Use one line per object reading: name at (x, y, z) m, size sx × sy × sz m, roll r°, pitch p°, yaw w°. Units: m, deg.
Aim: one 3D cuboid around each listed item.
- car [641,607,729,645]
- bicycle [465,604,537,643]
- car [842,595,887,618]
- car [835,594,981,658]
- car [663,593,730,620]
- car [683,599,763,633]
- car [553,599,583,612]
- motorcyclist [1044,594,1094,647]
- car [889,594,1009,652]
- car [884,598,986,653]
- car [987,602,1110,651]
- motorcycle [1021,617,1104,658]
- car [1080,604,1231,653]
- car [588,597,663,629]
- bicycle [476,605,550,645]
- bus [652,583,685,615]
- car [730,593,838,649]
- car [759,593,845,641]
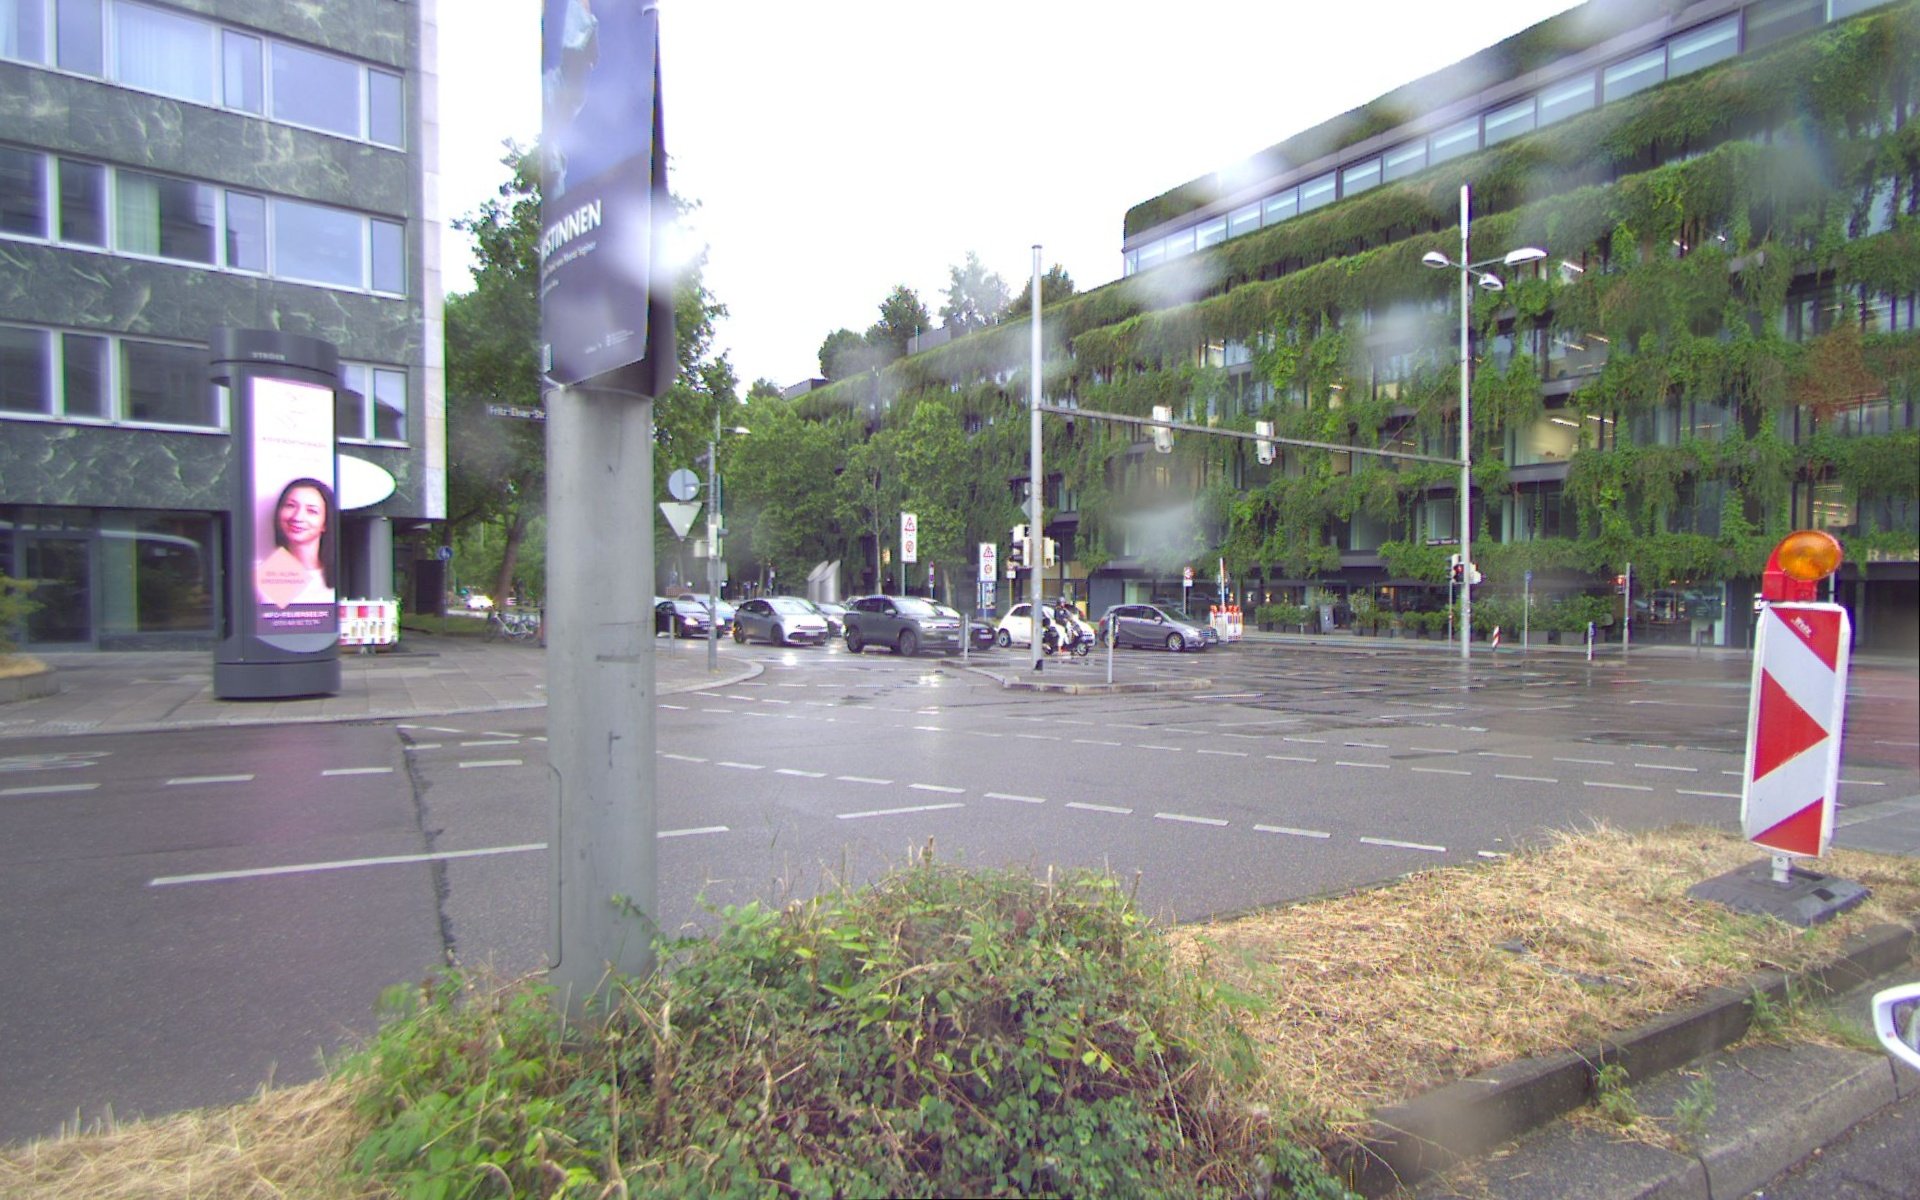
car at (-10.894, 1.001, 39.626) m, size 1.982 × 1.389 × 4.131 m, roll 1°, pitch 0°, yaw -37°
bicycle at (-12.969, 0.662, 28.413) m, size 1.765 × 1.066 × 0.581 m, roll 1°, pitch 0°, yaw -35°
car at (-7.361, 0.486, 77.248) m, size 1.783 × 1.588 × 3.962 m, roll 2°, pitch 0°, yaw -34°
car at (-1.580, 0.701, 29.140) m, size 1.984 × 1.709 × 4.314 m, roll 1°, pitch 0°, yaw -41°
car at (-13.923, 0.334, 52.926) m, size 1.982 × 1.389 × 4.131 m, roll 1°, pitch 0°, yaw -37°
car at (-10.668, 0.696, 45.024) m, size 1.982 × 1.389 × 4.131 m, roll 1°, pitch 0°, yaw -37°
car at (-47.705, 0.653, 122.148) m, size 1.919 × 1.508 × 4.849 m, roll 1°, pitch 0°, yaw -41°
motorcyclist at (3.141, 0.581, 28.995) m, size 1.153 × 1.492 × 0.832 m, roll 2°, pitch 0°, yaw 40°
car at (-0.415, 0.708, 32.590) m, size 1.981 × 1.773 × 3.958 m, roll 1°, pitch 0°, yaw -37°
car at (-1.003, 0.911, 37.766) m, size 1.978 × 1.923 × 4.139 m, roll 1°, pitch 0°, yaw -33°
car at (2.880, 0.856, 33.468) m, size 1.981 × 1.495 × 3.958 m, roll 1°, pitch 0°, yaw -37°
motorcycle at (2.960, 1.065, 29.143) m, size 2.331 × 1.068 × 0.830 m, roll 2°, pitch 0°, yaw 41°
car at (6.626, 0.933, 34.412) m, size 4.842 × 1.508 × 1.922 m, roll 1°, pitch 0°, yaw 45°
car at (-15.028, 0.563, 45.037) m, size 1.982 × 1.389 × 4.131 m, roll 1°, pitch 0°, yaw -37°
bicycle at (-12.290, 0.677, 27.636) m, size 1.765 × 1.066 × 0.581 m, roll 1°, pitch 0°, yaw -35°
bus at (-32.015, -0.160, 110.234) m, size 1.783 × 3.385 × 5.922 m, roll 2°, pitch 0°, yaw -34°
car at (-6.010, 0.664, 34.037) m, size 1.982 × 1.773 × 3.956 m, roll 1°, pitch 0°, yaw -38°
car at (-6.284, 0.644, 39.671) m, size 1.841 × 1.791 × 4.139 m, roll 1°, pitch 0°, yaw -32°
